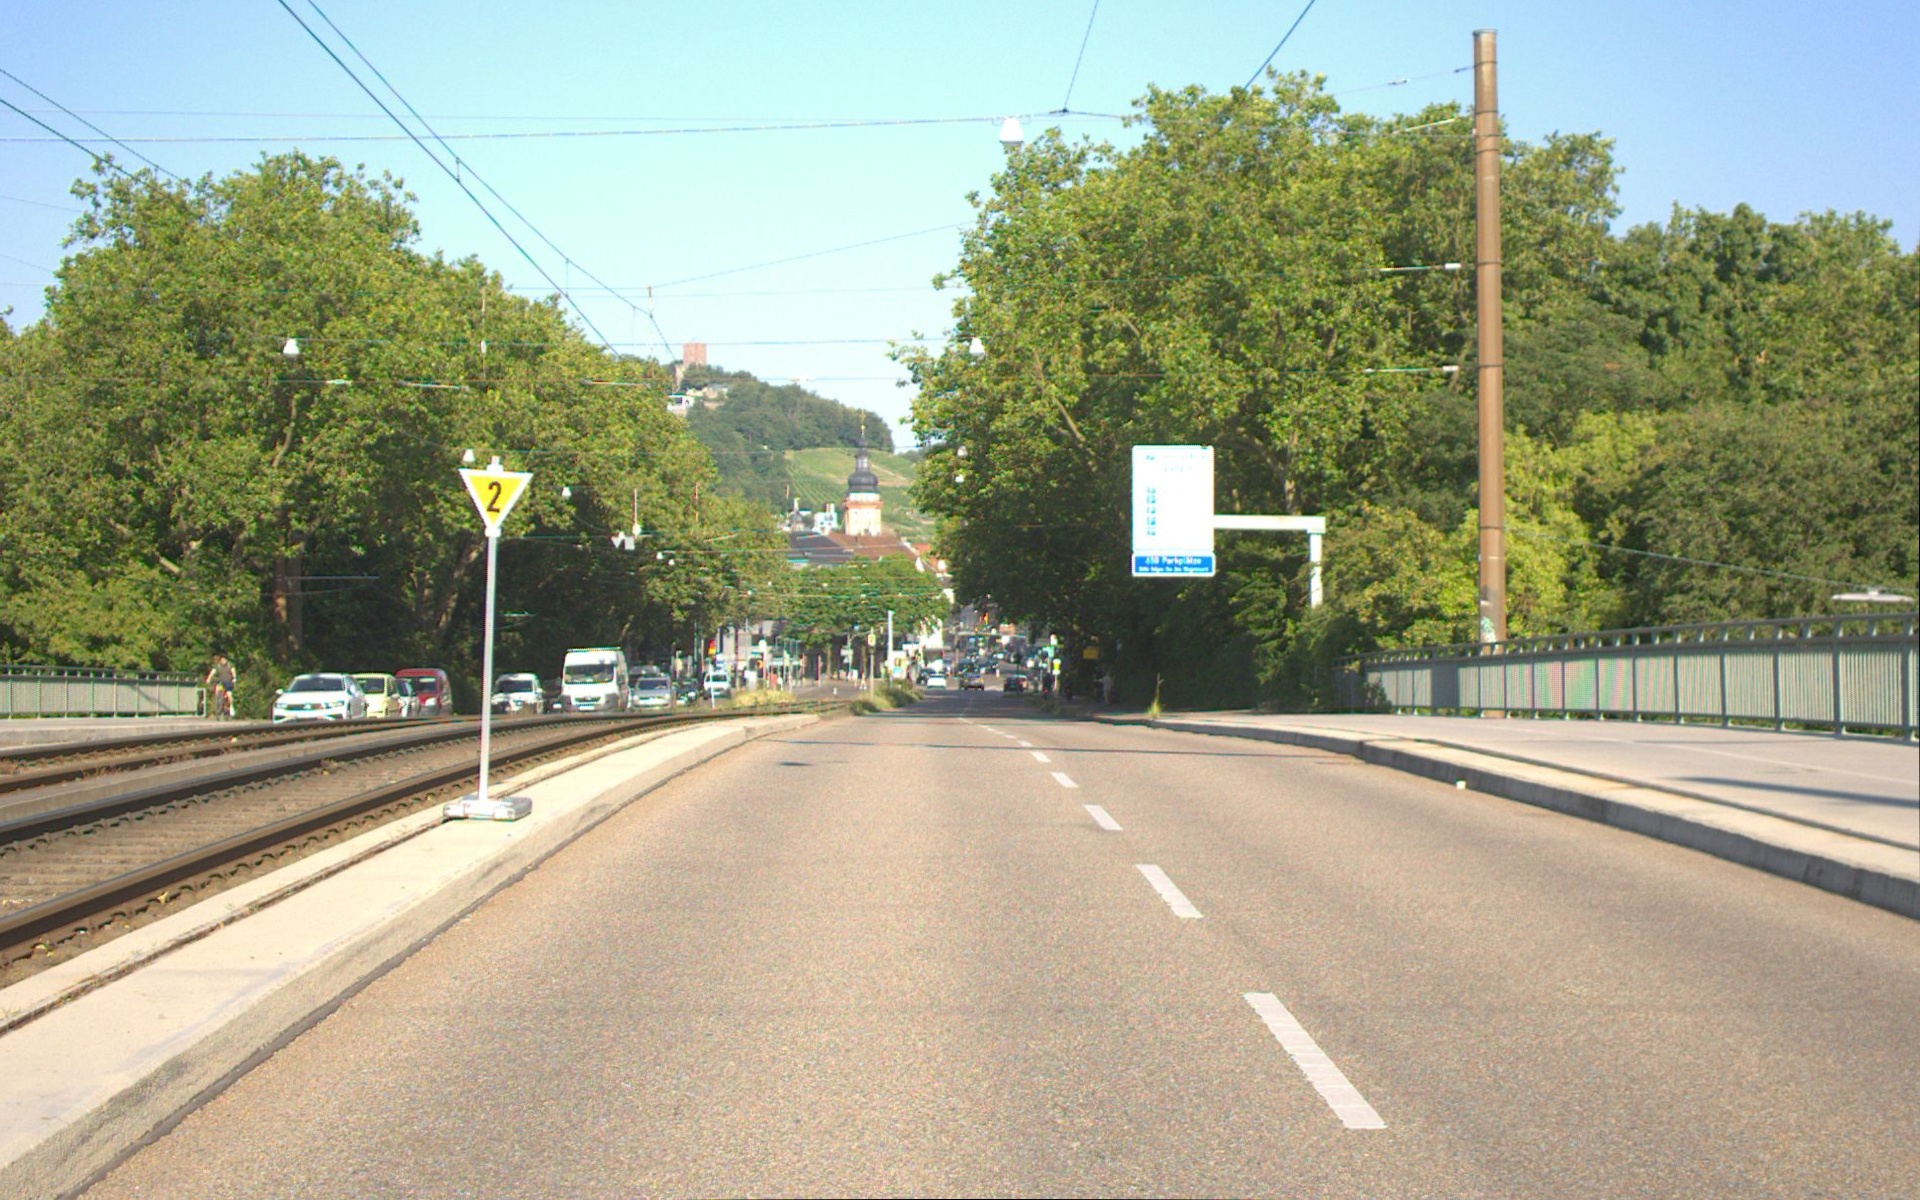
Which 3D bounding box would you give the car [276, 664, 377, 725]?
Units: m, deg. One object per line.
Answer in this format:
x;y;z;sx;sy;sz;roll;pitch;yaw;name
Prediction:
-15.798;2.342;85.986;1.741;1.459;4.956;0;-1;-2;car

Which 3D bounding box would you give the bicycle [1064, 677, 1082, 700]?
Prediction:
6.366;4.993;193.831;0.887;1.317;2.639;-1;-2;0;bicycle

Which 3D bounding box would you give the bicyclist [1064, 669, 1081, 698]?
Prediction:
6.365;4.719;193.963;0.887;1.633;1.164;-1;-2;0;bicyclist

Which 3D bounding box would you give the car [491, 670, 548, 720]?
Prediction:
-16.751;3.603;130.888;1.741;1.737;4.514;-3;-1;-3;car

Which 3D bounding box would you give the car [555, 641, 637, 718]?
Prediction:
-13.115;2.855;124.171;2.086;2.584;6.040;-4;-1;1;car

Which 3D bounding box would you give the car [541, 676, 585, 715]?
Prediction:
-16.840;4.045;146.076;1.741;1.631;4.000;-1;-1;-5;car

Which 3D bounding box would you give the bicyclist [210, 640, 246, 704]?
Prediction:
-18.883;1.849;88.733;0.679;1.621;0.890;2;-1;0;bicyclist

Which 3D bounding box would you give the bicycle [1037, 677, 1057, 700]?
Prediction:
5.074;5.153;199.855;0.887;1.317;2.639;0;-2;-4;bicycle

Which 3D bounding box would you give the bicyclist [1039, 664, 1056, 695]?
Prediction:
5.079;4.621;199.710;0.887;1.769;1.222;0;-2;-4;bicyclist

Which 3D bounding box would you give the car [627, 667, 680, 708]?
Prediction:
-13.836;3.943;155.512;1.873;1.660;4.596;-5;-1;0;car

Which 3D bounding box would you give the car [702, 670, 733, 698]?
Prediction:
-17.022;5.878;241.228;1.993;1.838;5.302;-3;-1;-4;car

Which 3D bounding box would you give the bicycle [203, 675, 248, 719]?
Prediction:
-18.909;2.495;88.575;0.679;1.094;2.100;2;-1;0;bicycle

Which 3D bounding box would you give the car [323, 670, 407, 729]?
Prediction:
-15.898;2.651;92.028;1.633;1.526;3.790;0;-1;-1;car
